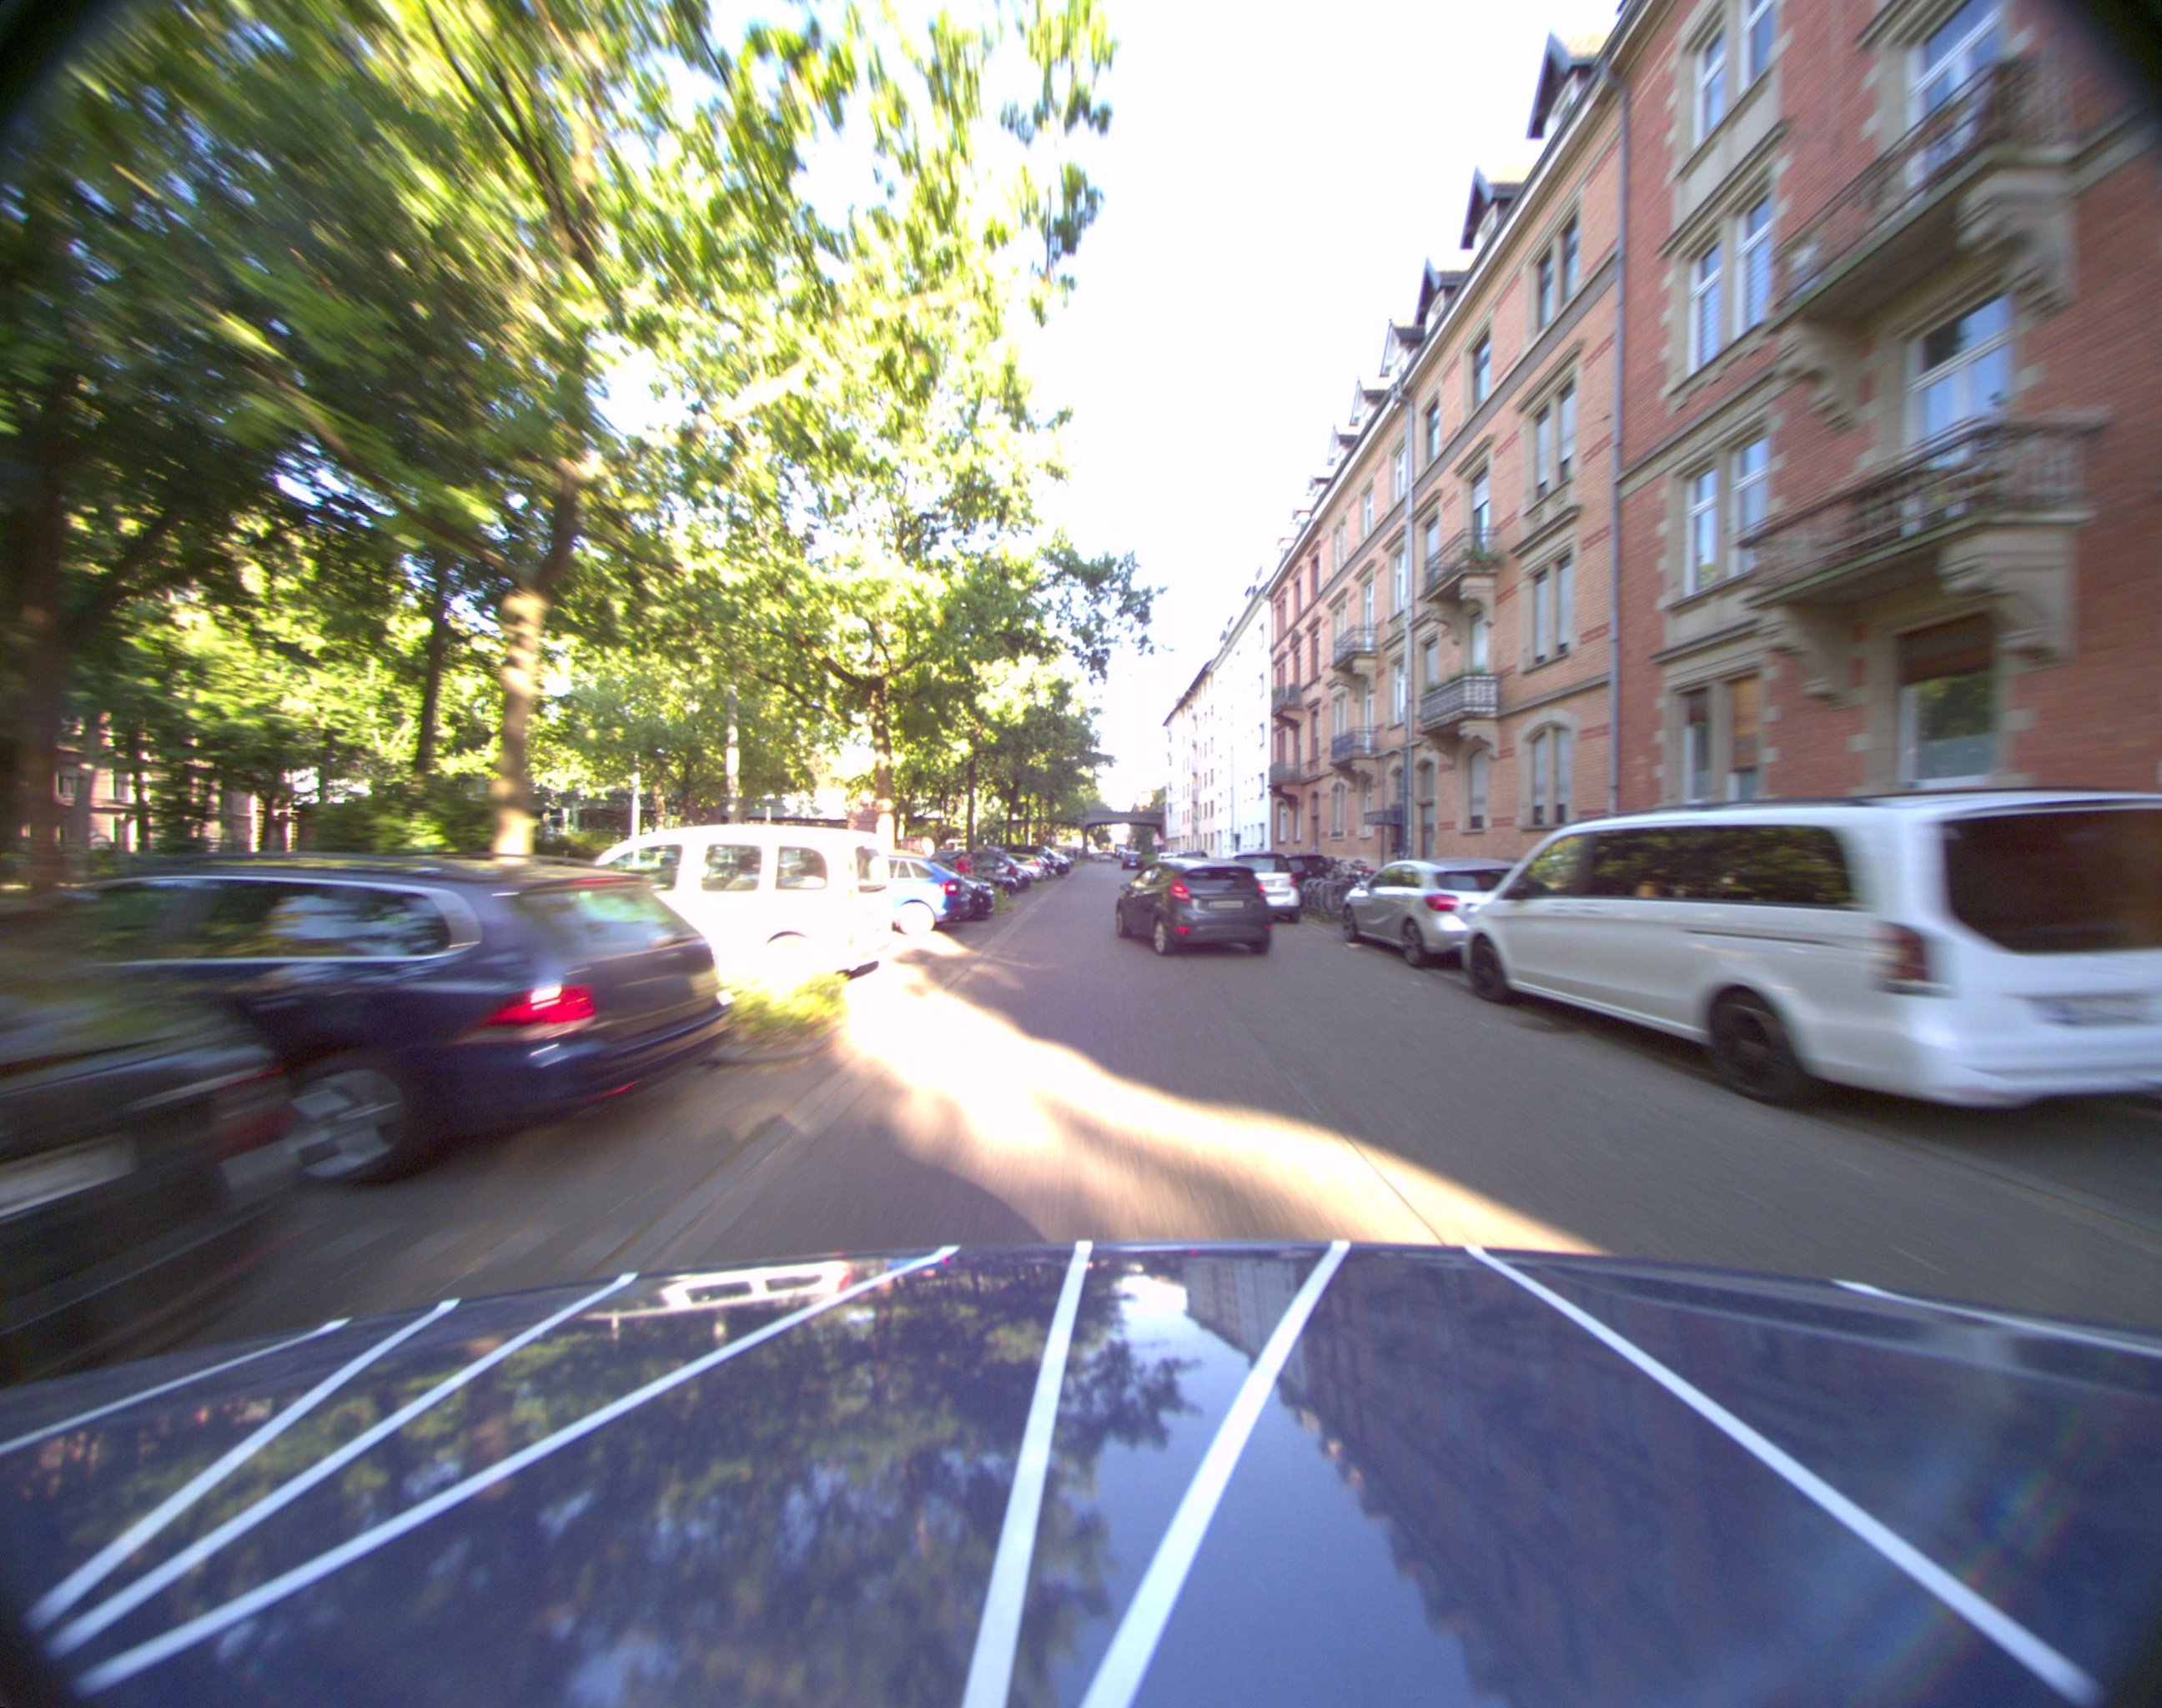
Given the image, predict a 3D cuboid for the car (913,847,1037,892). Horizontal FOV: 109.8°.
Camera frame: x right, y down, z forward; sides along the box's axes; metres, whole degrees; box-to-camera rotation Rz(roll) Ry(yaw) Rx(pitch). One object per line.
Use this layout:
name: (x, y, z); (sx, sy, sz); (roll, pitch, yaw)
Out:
car: (-4.007, 0.581, 29.130); (4.409, 1.582, 1.837); (1, 1, 2)

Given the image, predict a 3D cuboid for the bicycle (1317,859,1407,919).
bicycle: (5.995, 0.745, 16.253); (1.767, 1.208, 0.428); (-1, 3, 1)

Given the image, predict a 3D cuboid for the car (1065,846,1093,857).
car: (-0.357, -0.347, 127.251); (4.544, 1.686, 1.907); (-1, 2, 0)

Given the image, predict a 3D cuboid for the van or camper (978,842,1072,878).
van or camper: (-3.323, 0.335, 45.732); (5.426, 2.015, 2.030); (1, 0, 4)

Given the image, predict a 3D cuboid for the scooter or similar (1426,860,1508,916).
scooter or similar: (9.847, 0.824, 19.513); (0.785, 1.215, 2.703); (-1, 2, 1)

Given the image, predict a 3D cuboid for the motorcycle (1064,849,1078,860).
motorcycle: (-1.286, 0.014, 98.454); (1.601, 1.400, 0.713); (0, 3, 22)

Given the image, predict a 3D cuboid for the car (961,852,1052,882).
car: (-3.807, 0.656, 39.103); (4.409, 1.432, 1.838); (1, 1, 4)

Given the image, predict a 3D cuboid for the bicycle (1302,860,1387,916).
bicycle: (5.972, 0.769, 17.248); (1.767, 1.208, 0.441); (-1, 3, 1)

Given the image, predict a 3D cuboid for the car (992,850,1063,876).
car: (-3.330, 0.558, 48.021); (4.411, 1.492, 1.837); (1, 2, -1)

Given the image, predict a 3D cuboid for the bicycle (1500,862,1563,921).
bicycle: (9.711, 0.780, 16.430); (0.427, 1.124, 1.769); (-1, 2, 5)

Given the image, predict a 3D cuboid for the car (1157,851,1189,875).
car: (6.079, 0.566, 50.528); (1.672, 1.463, 4.284); (-3, 1, 2)

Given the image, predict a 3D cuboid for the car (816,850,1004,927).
car: (-3.676, 0.722, 16.751); (3.683, 1.493, 1.762); (2, 1, 2)

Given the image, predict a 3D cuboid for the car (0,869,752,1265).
car: (-4.248, 0.889, 4.111); (4.228, 1.444, 1.649); (2, 1, 6)

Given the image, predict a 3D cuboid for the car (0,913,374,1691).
car: (-4.245, 0.879, 1.393); (4.230, 1.444, 1.865); (2, 1, 2)

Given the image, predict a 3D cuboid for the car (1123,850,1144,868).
car: (4.547, 0.374, 65.829); (1.743, 1.471, 4.000); (1, 1, 3)

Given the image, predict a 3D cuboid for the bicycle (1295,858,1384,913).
bicycle: (6.176, 0.735, 18.158); (2.096, 1.208, 0.441); (-2, 3, -14)

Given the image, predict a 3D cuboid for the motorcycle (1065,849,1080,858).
motorcycle: (-1.126, -0.011, 102.747); (1.839, 1.126, 0.849); (-2, 3, -22)

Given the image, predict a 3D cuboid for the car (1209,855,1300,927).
car: (3.826, 0.769, 17.160); (1.507, 1.426, 2.753); (1, 1, 2)

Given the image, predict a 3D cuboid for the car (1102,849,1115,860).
car: (3.825, 0.099, 106.760); (1.672, 1.422, 4.001); (2, 0, 2)

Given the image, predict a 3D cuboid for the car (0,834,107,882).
car: (-47.285, 0.126, 34.128); (2.002, 2.002, 4.730); (-2, 2, -19)

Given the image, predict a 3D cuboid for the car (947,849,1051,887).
car: (-3.606, 0.608, 33.898); (4.410, 1.582, 1.837); (1, 1, 1)

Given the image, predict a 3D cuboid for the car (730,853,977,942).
car: (-4.123, 0.769, 14.271); (4.092, 1.434, 1.761); (2, 1, -1)

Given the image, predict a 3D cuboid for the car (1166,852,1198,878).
car: (6.093, 0.615, 45.964); (1.619, 1.443, 4.001); (-2, 0, 4)

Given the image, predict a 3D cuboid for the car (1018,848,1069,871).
car: (-2.858, 0.398, 58.928); (3.791, 1.637, 1.664); (1, 2, 2)

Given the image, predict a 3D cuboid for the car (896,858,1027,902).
car: (-3.737, 0.794, 24.166); (3.852, 1.272, 1.690); (1, 1, 1)

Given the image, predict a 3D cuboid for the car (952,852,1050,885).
car: (-3.803, 0.675, 36.664); (4.409, 1.432, 1.838); (1, 1, 4)

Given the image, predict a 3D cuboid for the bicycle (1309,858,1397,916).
bicycle: (5.976, 0.728, 16.730); (1.767, 1.208, 0.464); (-1, 3, 1)

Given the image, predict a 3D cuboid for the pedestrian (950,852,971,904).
pedestrian: (-3.473, 0.691, 21.953); (0.380, 1.508, 0.520); (0, -1, 21)

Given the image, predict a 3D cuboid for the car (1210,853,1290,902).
car: (5.613, 0.729, 25.739); (1.758, 1.455, 3.999); (-3, 0, 0)

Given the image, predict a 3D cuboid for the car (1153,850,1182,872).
car: (6.317, 0.480, 55.625); (1.672, 1.499, 4.000); (-3, 1, 1)

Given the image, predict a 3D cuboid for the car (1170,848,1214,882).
car: (5.852, 0.542, 40.513); (1.756, 1.696, 4.200); (-1, 1, 1)

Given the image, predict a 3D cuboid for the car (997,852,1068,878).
car: (-3.165, 0.683, 49.971); (4.409, 1.569, 1.664); (1, 2, 4)

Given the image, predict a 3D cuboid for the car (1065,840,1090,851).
car: (-0.589, -1.568, 144.475); (4.683, 1.914, 1.871); (2, 2, 0)

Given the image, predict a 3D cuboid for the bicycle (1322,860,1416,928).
bicycle: (5.968, 0.830, 15.770); (1.767, 1.340, 0.495); (-1, 3, 1)

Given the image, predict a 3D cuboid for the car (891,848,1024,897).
car: (-4.231, 0.638, 26.535); (4.412, 1.582, 1.837); (1, 1, -3)

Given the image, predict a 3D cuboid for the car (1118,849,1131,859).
car: (7.169, -0.040, 126.735); (1.749, 1.458, 4.373); (-1, 2, -2)

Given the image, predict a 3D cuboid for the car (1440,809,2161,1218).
car: (5.042, 0.656, 6.069); (1.998, 1.910, 5.038); (-1, 2, 0)

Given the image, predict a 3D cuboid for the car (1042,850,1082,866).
car: (-1.851, 0.360, 74.122); (3.791, 1.394, 1.827); (1, 2, 3)

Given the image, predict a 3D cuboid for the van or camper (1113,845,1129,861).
van or camper: (6.961, -0.184, 132.651); (2.242, 2.509, 6.417); (-1, 2, -2)

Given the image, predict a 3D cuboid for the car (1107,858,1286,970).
car: (1.687, 0.845, 12.486); (1.674, 1.455, 3.996); (1, 1, -10)

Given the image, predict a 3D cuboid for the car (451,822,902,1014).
car: (-4.427, 0.645, 8.742); (4.230, 1.853, 1.762); (2, 1, 2)

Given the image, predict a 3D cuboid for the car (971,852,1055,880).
car: (-3.674, 0.639, 41.500); (4.410, 1.432, 1.837); (1, 1, 0)

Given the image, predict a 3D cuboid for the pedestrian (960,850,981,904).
pedestrian: (-3.272, 0.682, 22.488); (0.380, 1.575, 0.520); (0, -1, 21)

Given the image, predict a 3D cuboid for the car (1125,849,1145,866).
car: (5.054, 0.316, 71.326); (1.707, 1.516, 3.773); (0, 1, 1)

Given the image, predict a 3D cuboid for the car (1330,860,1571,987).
car: (5.221, 0.870, 11.434); (1.678, 1.446, 4.210); (1, 1, 2)

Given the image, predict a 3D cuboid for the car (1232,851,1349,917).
car: (5.624, 0.736, 20.913); (1.752, 1.537, 4.149); (-2, 1, -5)
